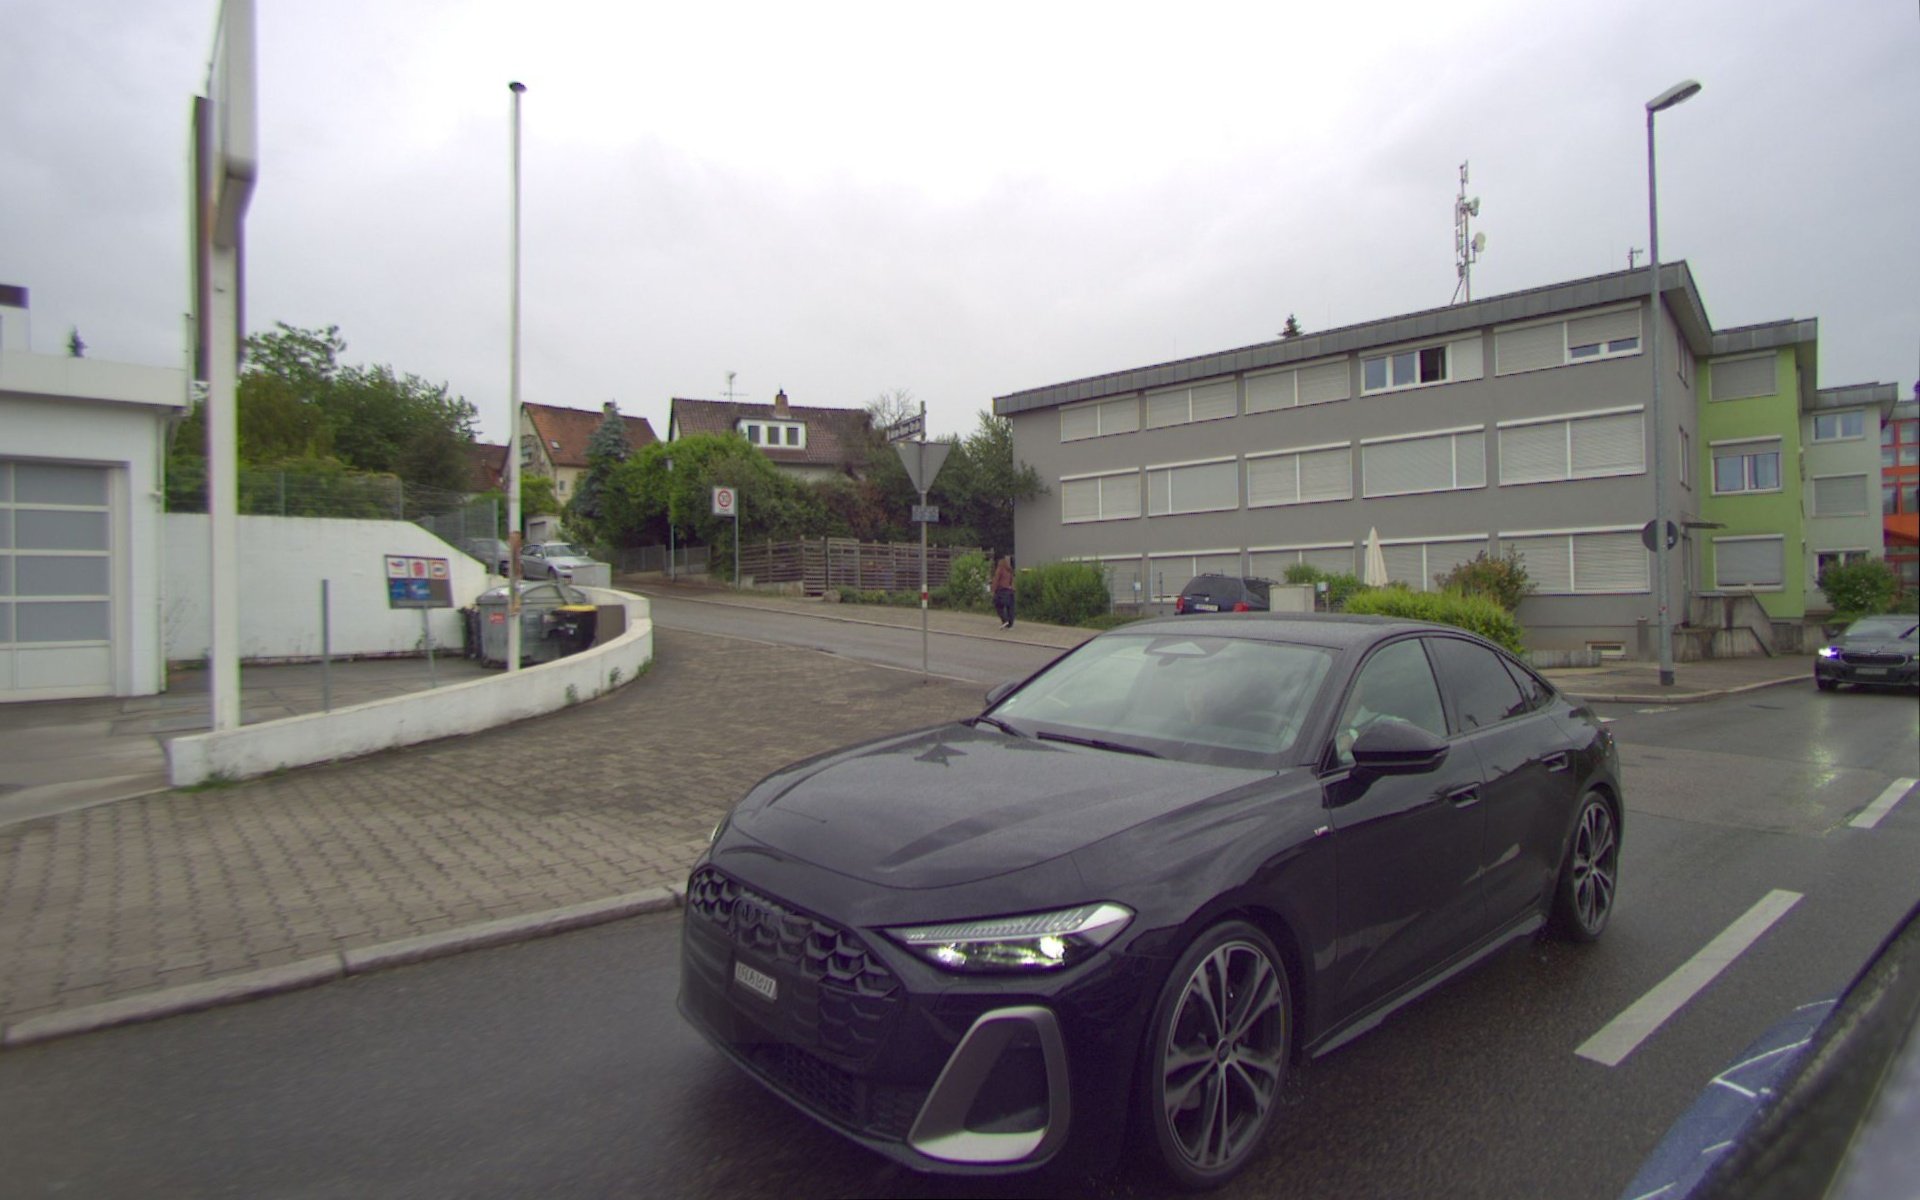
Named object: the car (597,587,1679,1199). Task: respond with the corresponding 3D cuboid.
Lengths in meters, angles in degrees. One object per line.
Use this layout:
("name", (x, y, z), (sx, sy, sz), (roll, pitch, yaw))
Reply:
("car", (1.181, 0.724, 4.134), (4.658, 1.442, 1.869), (-2, 1, -42))

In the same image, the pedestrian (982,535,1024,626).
("pedestrian", (0.978, -0.461, 23.151), (0.715, 2.038, 0.606), (2, 3, 40))

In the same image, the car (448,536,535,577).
("car", (-18.748, -1.795, 40.424), (1.968, 1.492, 3.991), (-3, 6, -44))

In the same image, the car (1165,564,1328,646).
("car", (6.224, 0.026, 21.734), (1.809, 1.545, 3.941), (4, 4, 41))

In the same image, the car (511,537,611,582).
("car", (-14.433, -1.512, 36.529), (1.968, 1.492, 3.991), (-3, 6, -44))

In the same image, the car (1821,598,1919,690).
("car", (18.358, 0.781, 19.554), (3.928, 1.538, 1.872), (-2, 1, -38))
